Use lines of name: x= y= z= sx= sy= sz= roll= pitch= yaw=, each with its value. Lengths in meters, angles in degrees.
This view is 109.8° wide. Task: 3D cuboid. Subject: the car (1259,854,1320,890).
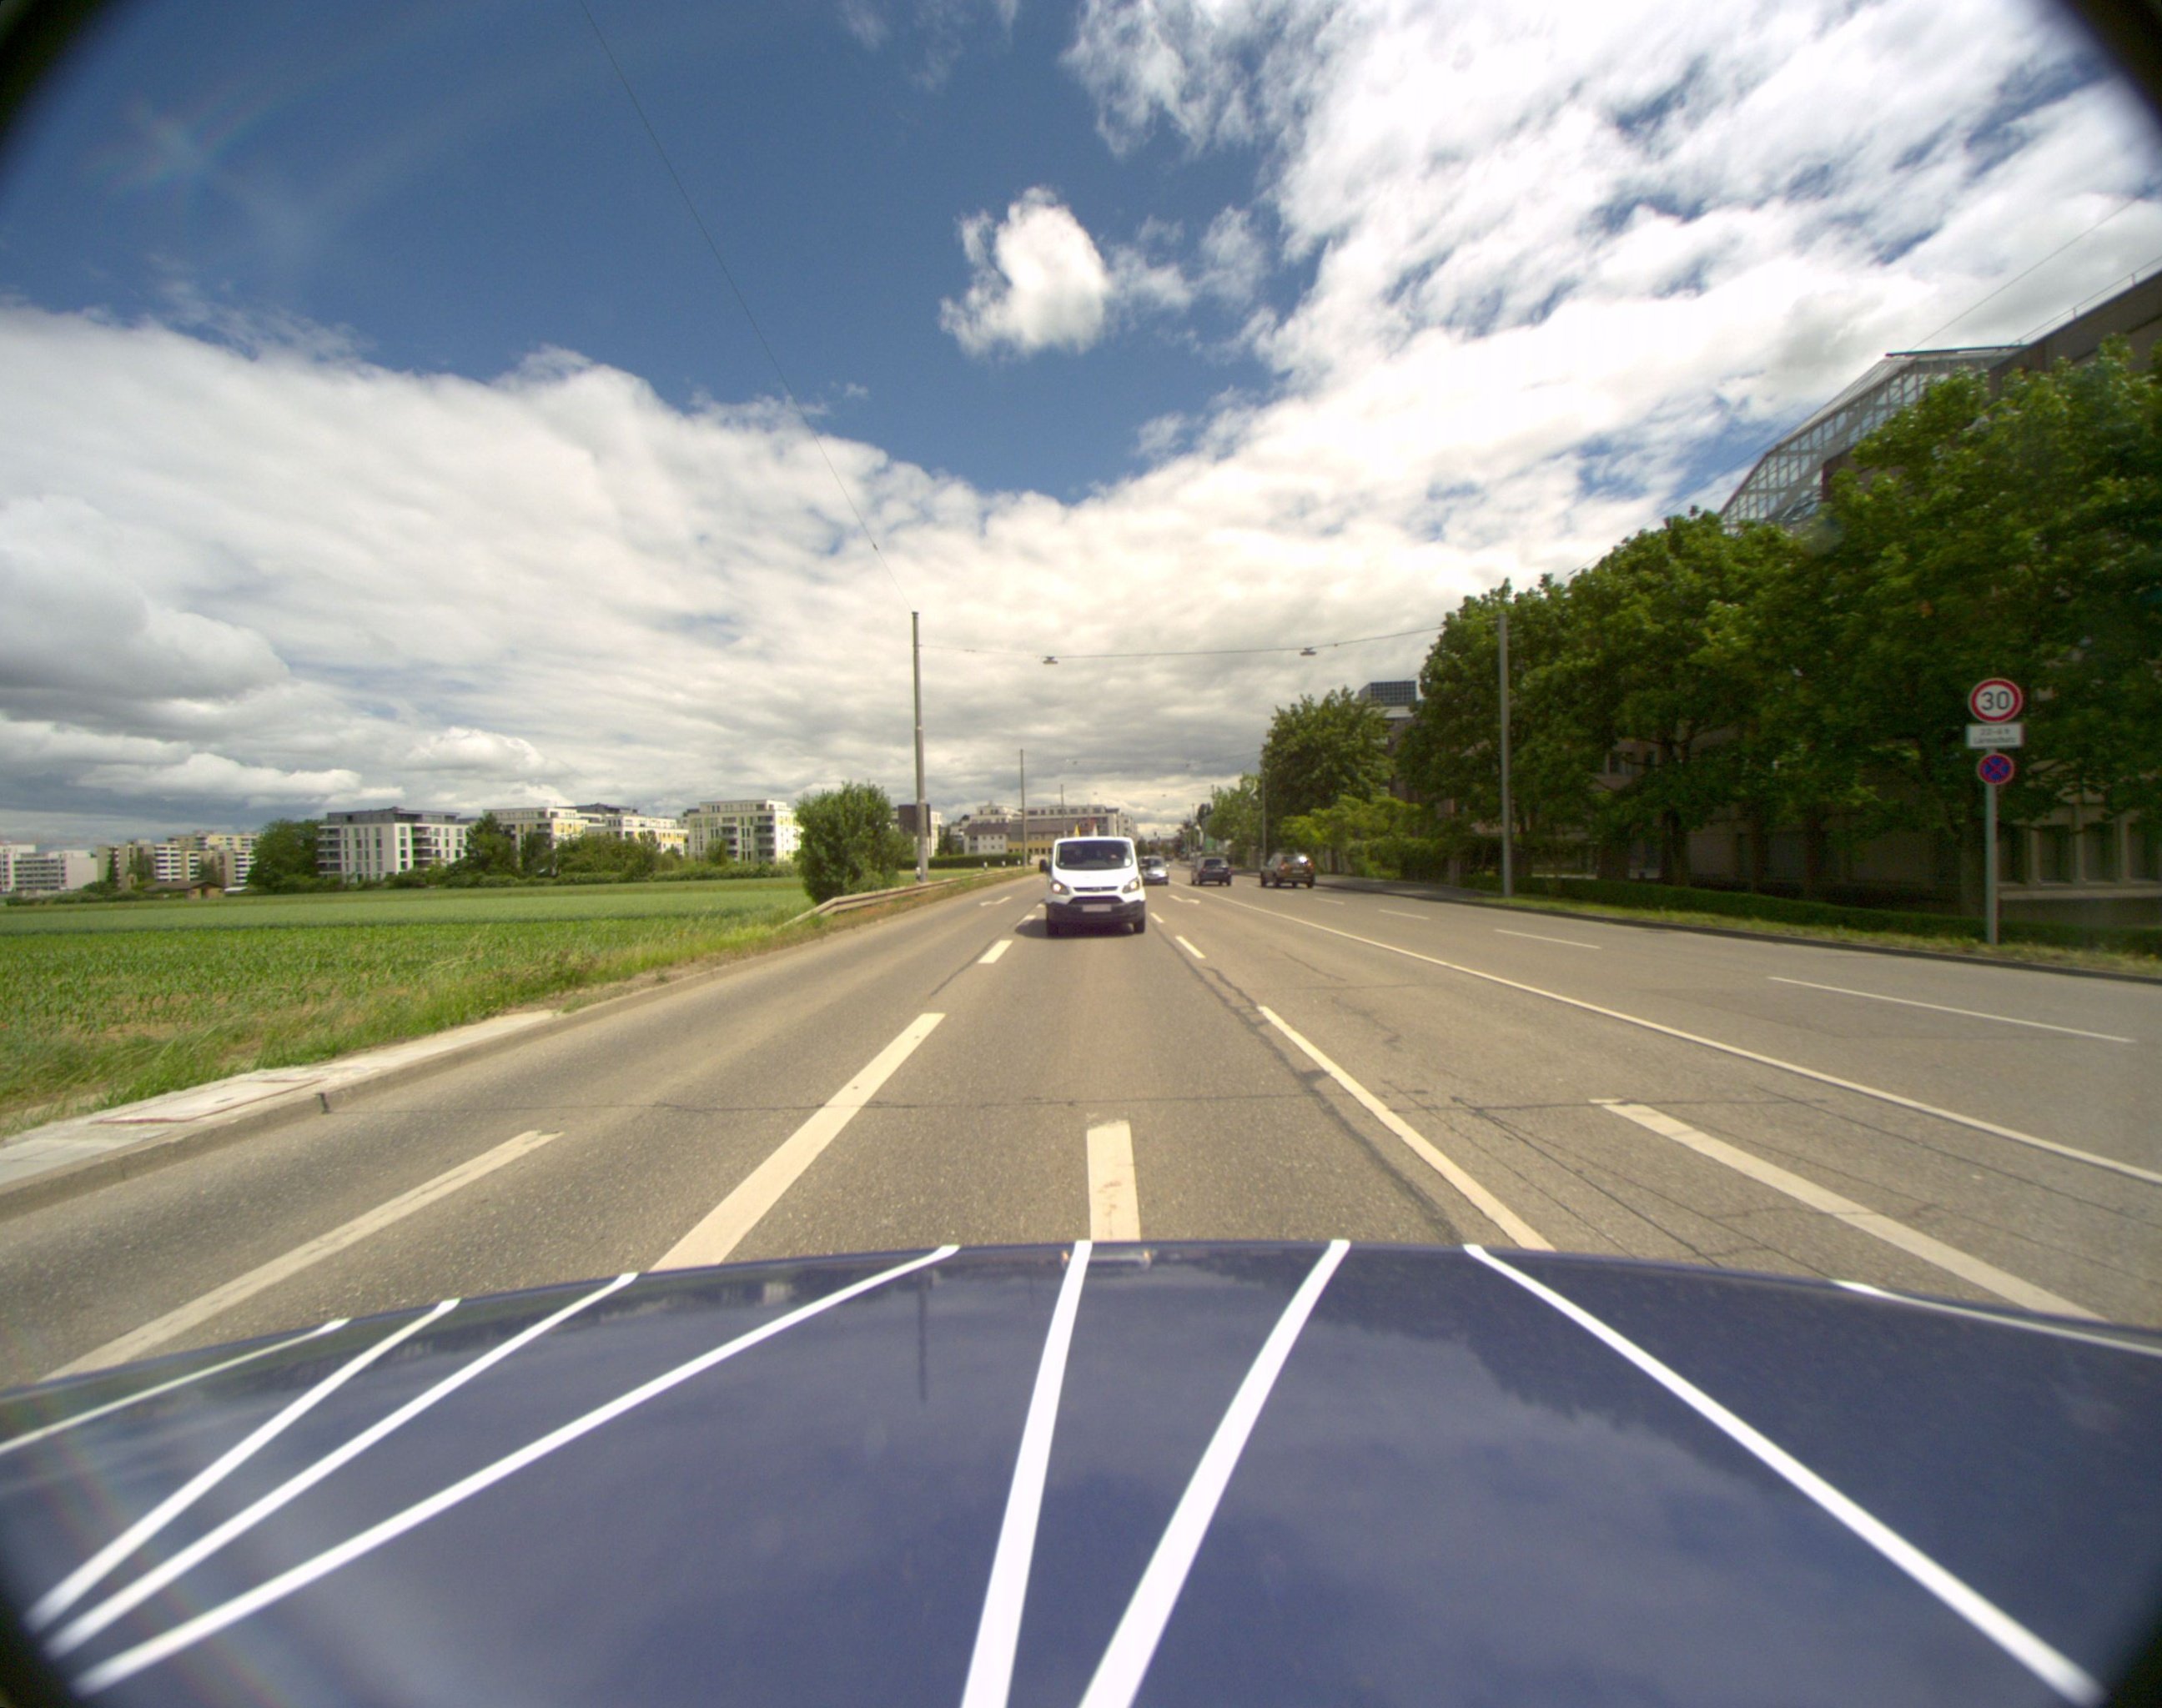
car: x=9.985 y=0.835 z=36.631 sx=1.897 sy=1.587 sz=4.000 roll=-1 pitch=0 yaw=1

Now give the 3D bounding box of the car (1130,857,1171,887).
car: x=3.628 y=0.901 z=40.365 sx=1.894 sy=1.433 sz=4.000 roll=-2 pitch=0 yaw=1

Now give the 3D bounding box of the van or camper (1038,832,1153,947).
van or camper: x=0.288 y=0.640 z=16.490 sx=1.998 sy=2.002 sz=5.799 roll=-2 pitch=0 yaw=1

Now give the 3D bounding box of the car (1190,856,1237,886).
car: x=6.845 y=0.841 z=39.516 sx=1.800 sy=1.445 sz=4.000 roll=0 pitch=0 yaw=1
